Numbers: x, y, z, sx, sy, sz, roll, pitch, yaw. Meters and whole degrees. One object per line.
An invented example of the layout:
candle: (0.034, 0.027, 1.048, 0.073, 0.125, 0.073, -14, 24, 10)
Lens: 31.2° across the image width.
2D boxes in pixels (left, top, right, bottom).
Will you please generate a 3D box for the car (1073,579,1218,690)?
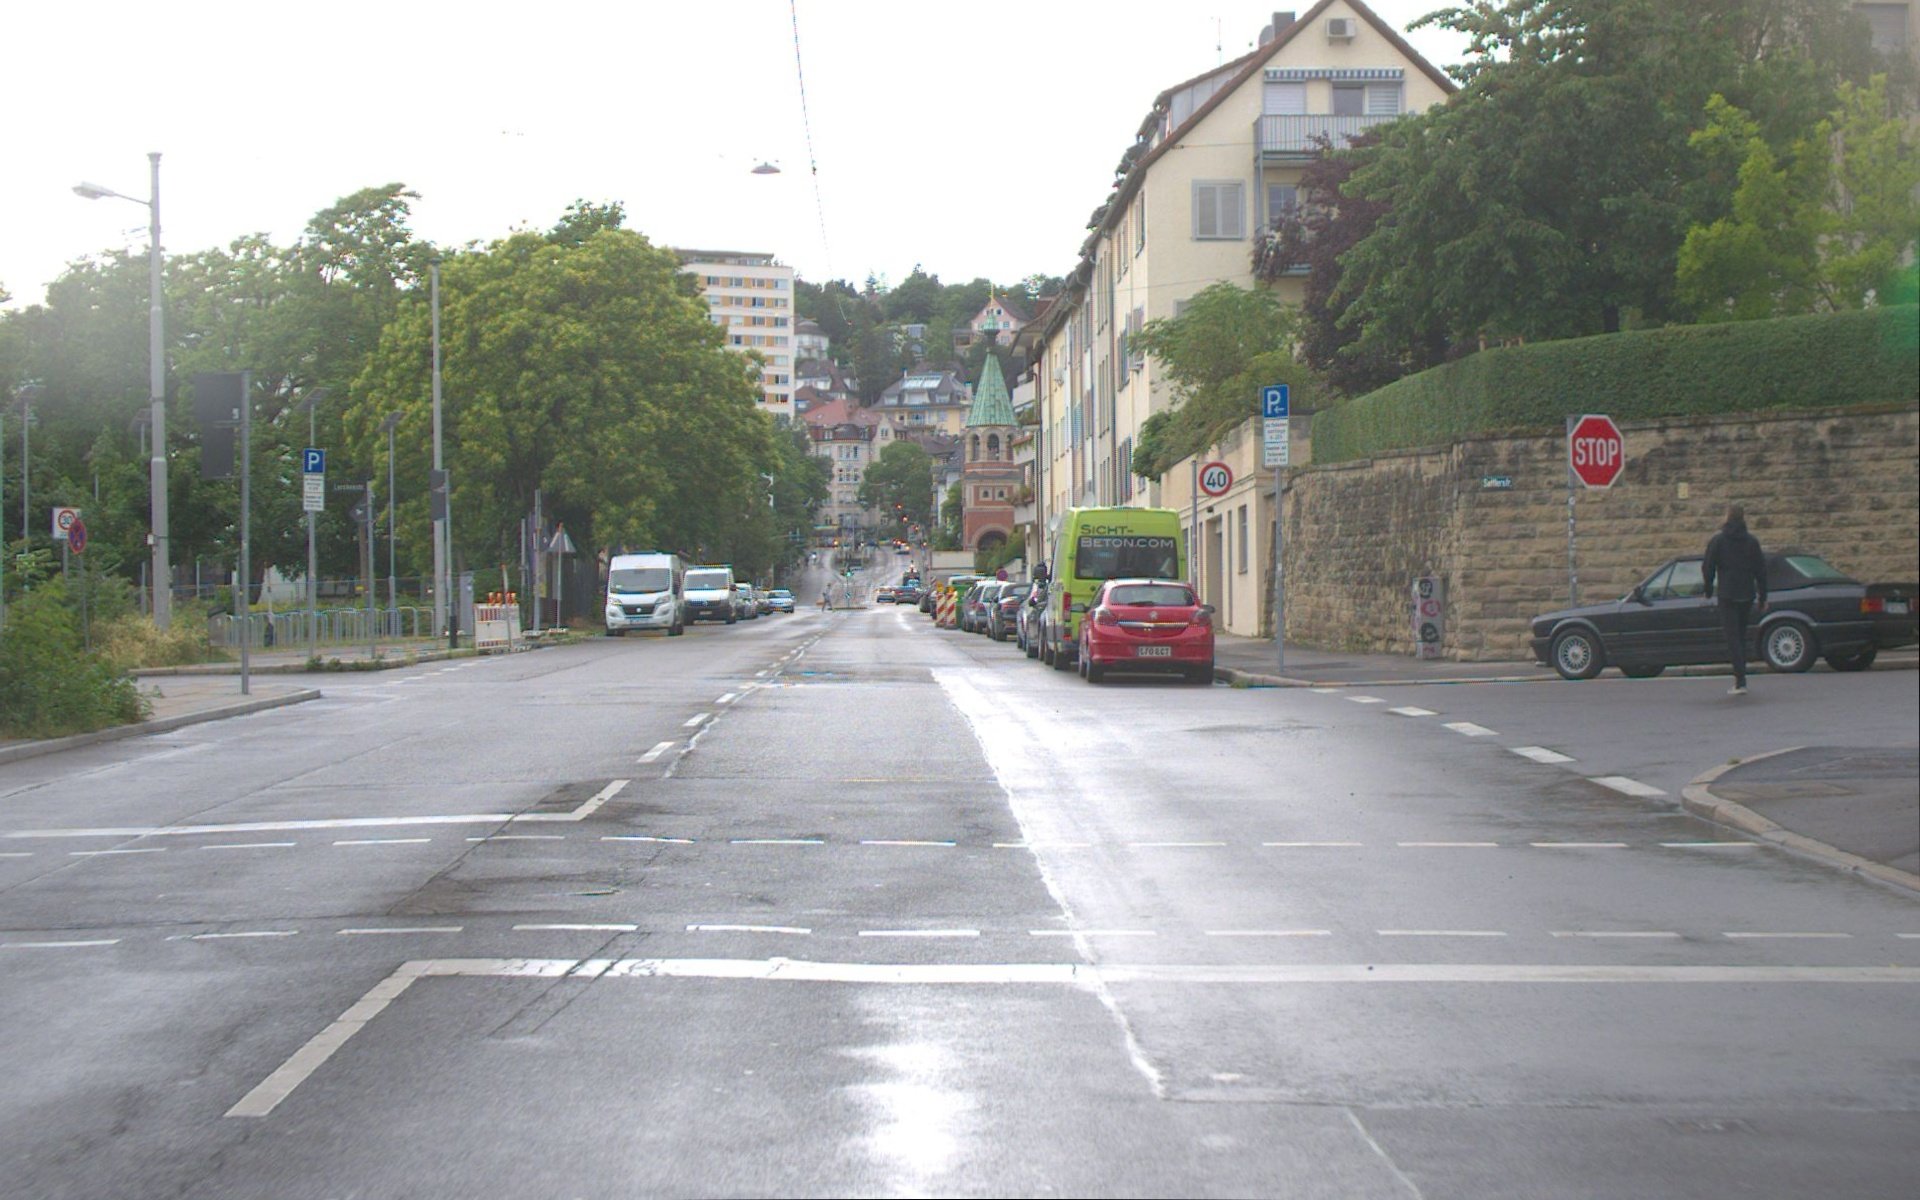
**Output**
car: (2.510, 0.445, 47.326, 1.721, 1.416, 4.203, 1, 1, 0)

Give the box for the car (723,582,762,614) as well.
car: (-9.988, -0.087, 158.067, 1.682, 1.394, 3.911, -1, 0, -2)

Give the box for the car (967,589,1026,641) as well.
car: (1.058, 0.431, 101.541, 1.558, 1.449, 3.760, 1, 1, -2)

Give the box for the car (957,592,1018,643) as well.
car: (0.843, 0.529, 107.046, 1.716, 1.519, 4.000, 1, 1, -2)

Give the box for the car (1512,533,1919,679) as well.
car: (8.383, 0.083, 37.708, 4.274, 1.388, 1.748, -3, -2, 41)

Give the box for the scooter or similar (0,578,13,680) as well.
scooter or similar: (-11.936, 0.354, 41.789, 0.496, 1.244, 1.231, 1, -1, 0)

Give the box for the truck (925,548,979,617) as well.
truck: (-0.407, -0.790, 162.585, 2.469, 3.161, 7.036, 0, 0, -1)

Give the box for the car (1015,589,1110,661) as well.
car: (2.124, 0.499, 72.226, 1.688, 1.449, 4.235, 1, 0, -2)

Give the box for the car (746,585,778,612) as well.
car: (-11.434, -0.070, 198.662, 1.803, 1.446, 4.658, -1, -1, -3)

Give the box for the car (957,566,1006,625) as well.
car: (0.820, -0.182, 134.091, 1.716, 2.231, 4.000, 1, 0, -2)

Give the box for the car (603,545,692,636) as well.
car: (-9.366, -0.305, 103.424, 2.230, 2.570, 6.538, -2, 0, -2)

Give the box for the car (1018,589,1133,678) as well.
car: (1.983, 0.560, 59.968, 1.688, 1.449, 4.235, 1, 1, -2)

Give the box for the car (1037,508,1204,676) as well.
car: (2.451, -0.144, 54.132, 2.205, 2.455, 6.080, 1, 1, -1)

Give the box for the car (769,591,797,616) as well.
car: (-10.998, 0.217, 213.757, 1.709, 1.446, 4.294, -1, -1, -2)

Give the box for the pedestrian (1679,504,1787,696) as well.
pedestrian: (7.062, -0.006, 31.441, 0.723, 1.709, 0.905, -2, 1, 0)

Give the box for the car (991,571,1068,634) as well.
car: (1.640, 0.040, 82.245, 1.629, 1.449, 3.760, 1, 1, -2)

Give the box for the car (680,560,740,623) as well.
car: (-10.317, -0.371, 142.233, 2.012, 2.479, 5.983, -1, 0, -1)
